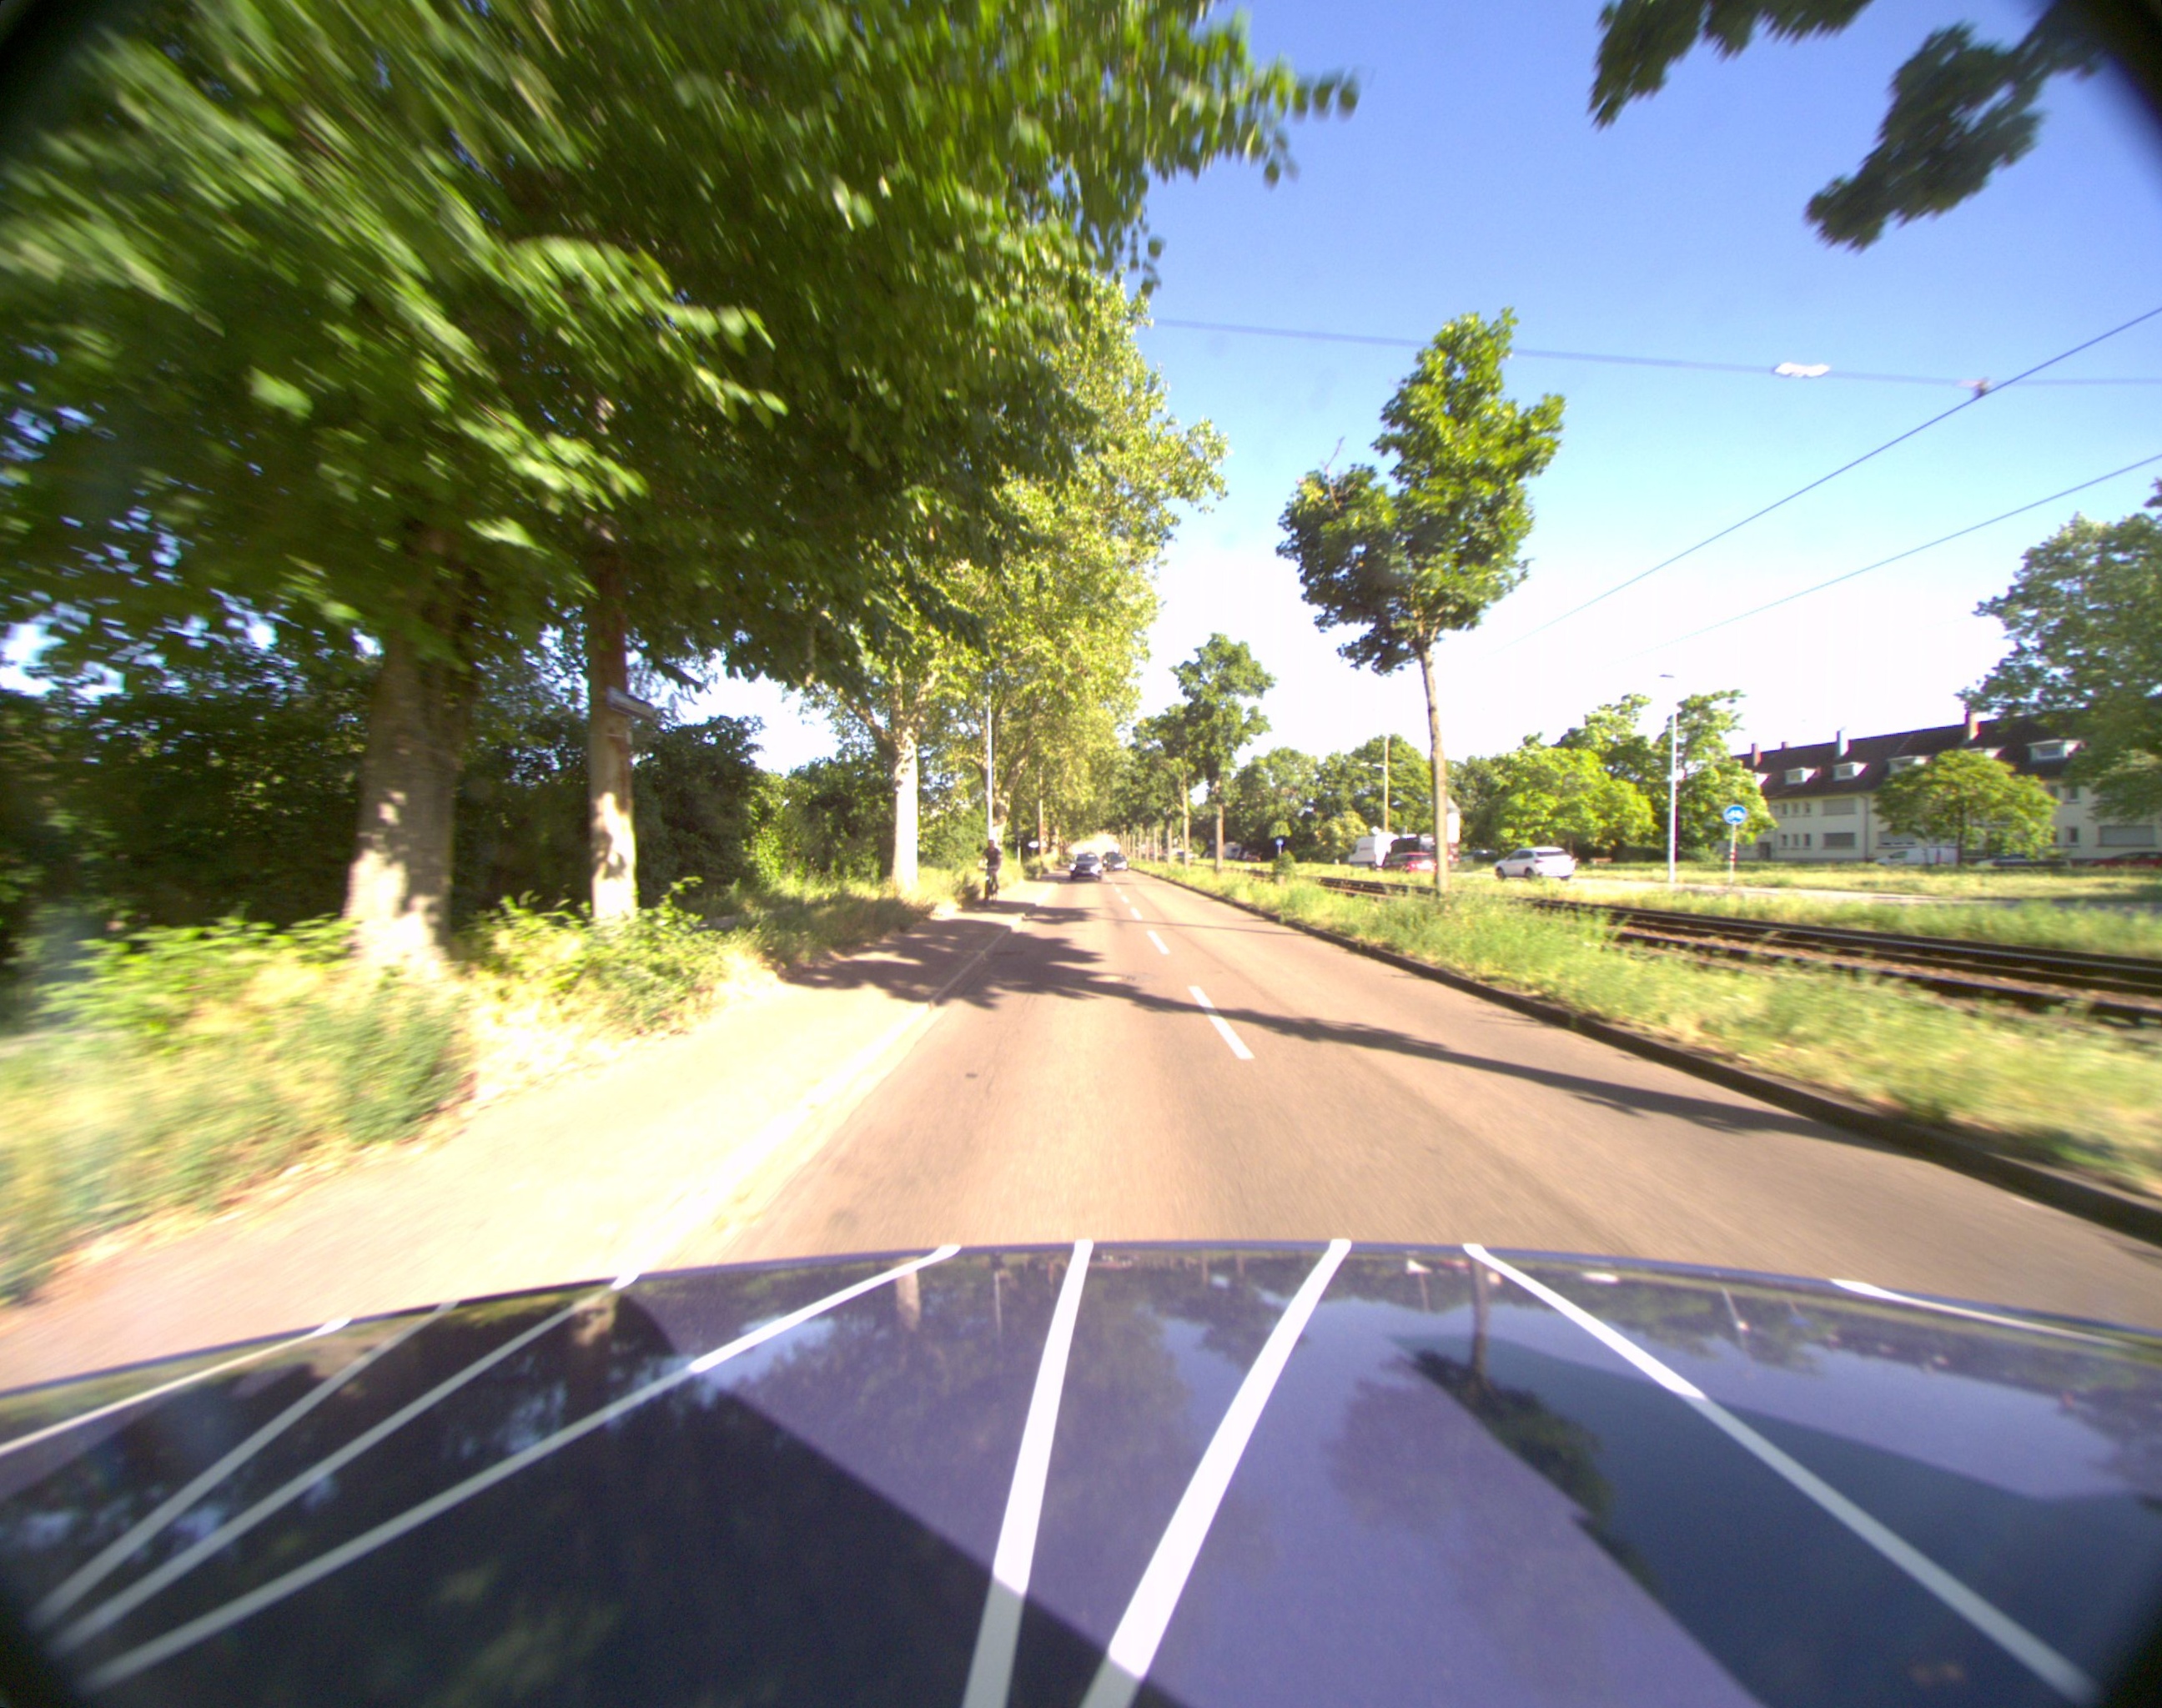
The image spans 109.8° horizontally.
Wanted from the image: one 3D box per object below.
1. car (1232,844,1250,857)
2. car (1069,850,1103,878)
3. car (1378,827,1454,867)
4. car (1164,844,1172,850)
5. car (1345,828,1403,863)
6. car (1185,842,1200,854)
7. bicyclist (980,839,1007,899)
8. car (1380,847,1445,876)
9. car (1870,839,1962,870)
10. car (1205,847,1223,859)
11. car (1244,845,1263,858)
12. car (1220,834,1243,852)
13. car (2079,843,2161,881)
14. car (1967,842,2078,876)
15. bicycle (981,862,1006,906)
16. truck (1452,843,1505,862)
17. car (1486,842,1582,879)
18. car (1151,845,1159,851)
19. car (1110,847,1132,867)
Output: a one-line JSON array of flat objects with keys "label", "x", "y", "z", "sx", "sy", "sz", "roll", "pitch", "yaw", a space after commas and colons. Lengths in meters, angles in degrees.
[{"label": "car", "x": 22.693, "y": -0.510, "z": 107.834, "sx": 1.626, "sy": 1.613, "sz": 4.532, "roll": -2, "pitch": 1, "yaw": 1}, {"label": "car", "x": 0.292, "y": 0.528, "z": 44.035, "sx": 1.808, "sy": 1.478, "sz": 3.546, "roll": -2, "pitch": 1, "yaw": 0}, {"label": "car", "x": 21.908, "y": -0.486, "z": 49.983, "sx": 2.188, "sy": 2.362, "sz": 6.464, "roll": -2, "pitch": 1, "yaw": 1}, {"label": "car", "x": 23.058, "y": -1.975, "z": 200.629, "sx": 1.731, "sy": 1.519, "sz": 4.442, "roll": -2, "pitch": 1, "yaw": 2}, {"label": "car", "x": 22.206, "y": -0.659, "z": 57.808, "sx": 2.006, "sy": 2.482, "sz": 6.136, "roll": -2, "pitch": 1, "yaw": 0}, {"label": "car", "x": 18.301, "y": -0.990, "z": 124.604, "sx": 1.815, "sy": 1.734, "sz": 4.981, "roll": -2, "pitch": 1, "yaw": 1}, {"label": "bicyclist", "x": -2.437, "y": 0.412, "z": 21.234, "sx": 0.615, "sy": 1.619, "sz": 0.909, "roll": -1, "pitch": 1, "yaw": 1}, {"label": "car", "x": 17.135, "y": 0.374, "z": 39.499, "sx": 1.680, "sy": 1.401, "sz": 4.000, "roll": -1, "pitch": 1, "yaw": 1}, {"label": "car", "x": 59.050, "y": -0.007, "z": 53.828, "sx": 2.000, "sy": 2.002, "sz": 3.996, "roll": -2, "pitch": 1, "yaw": -8}, {"label": "car", "x": 18.635, "y": -0.145, "z": 106.420, "sx": 1.998, "sy": 1.522, "sz": 3.751, "roll": -1, "pitch": 1, "yaw": 2}, {"label": "car", "x": 22.863, "y": -0.370, "z": 100.823, "sx": 1.678, "sy": 1.575, "sz": 4.248, "roll": -2, "pitch": 1, "yaw": 3}, {"label": "car", "x": 22.830, "y": -1.606, "z": 115.506, "sx": 2.231, "sy": 2.565, "sz": 6.798, "roll": -2, "pitch": 0, "yaw": 1}, {"label": "car", "x": 60.021, "y": 0.433, "z": 42.916, "sx": 1.999, "sy": 2.002, "sz": 3.997, "roll": -2, "pitch": 1, "yaw": -5}, {"label": "car", "x": 59.639, "y": 0.264, "z": 48.243, "sx": 1.999, "sy": 2.002, "sz": 3.997, "roll": -2, "pitch": 1, "yaw": -6}, {"label": "bicycle", "x": -2.430, "y": 0.814, "z": 21.234, "sx": 0.441, "sy": 1.146, "sz": 1.823, "roll": -1, "pitch": 1, "yaw": 1}, {"label": "truck", "x": 42.065, "y": -0.185, "z": 80.490, "sx": 4.946, "sy": 1.858, "sz": 2.080, "roll": -2, "pitch": 1, "yaw": -19}, {"label": "car", "x": 21.811, "y": 0.274, "z": 36.818, "sx": 1.827, "sy": 1.598, "sz": 4.773, "roll": -2, "pitch": 1, "yaw": 1}, {"label": "car", "x": 19.875, "y": -1.695, "z": 204.325, "sx": 1.731, "sy": 1.519, "sz": 4.442, "roll": -2, "pitch": 1, "yaw": 2}, {"label": "car", "x": 3.297, "y": 0.221, "z": 63.463, "sx": 1.714, "sy": 1.478, "sz": 3.546, "roll": -2, "pitch": 1, "yaw": 2}]
